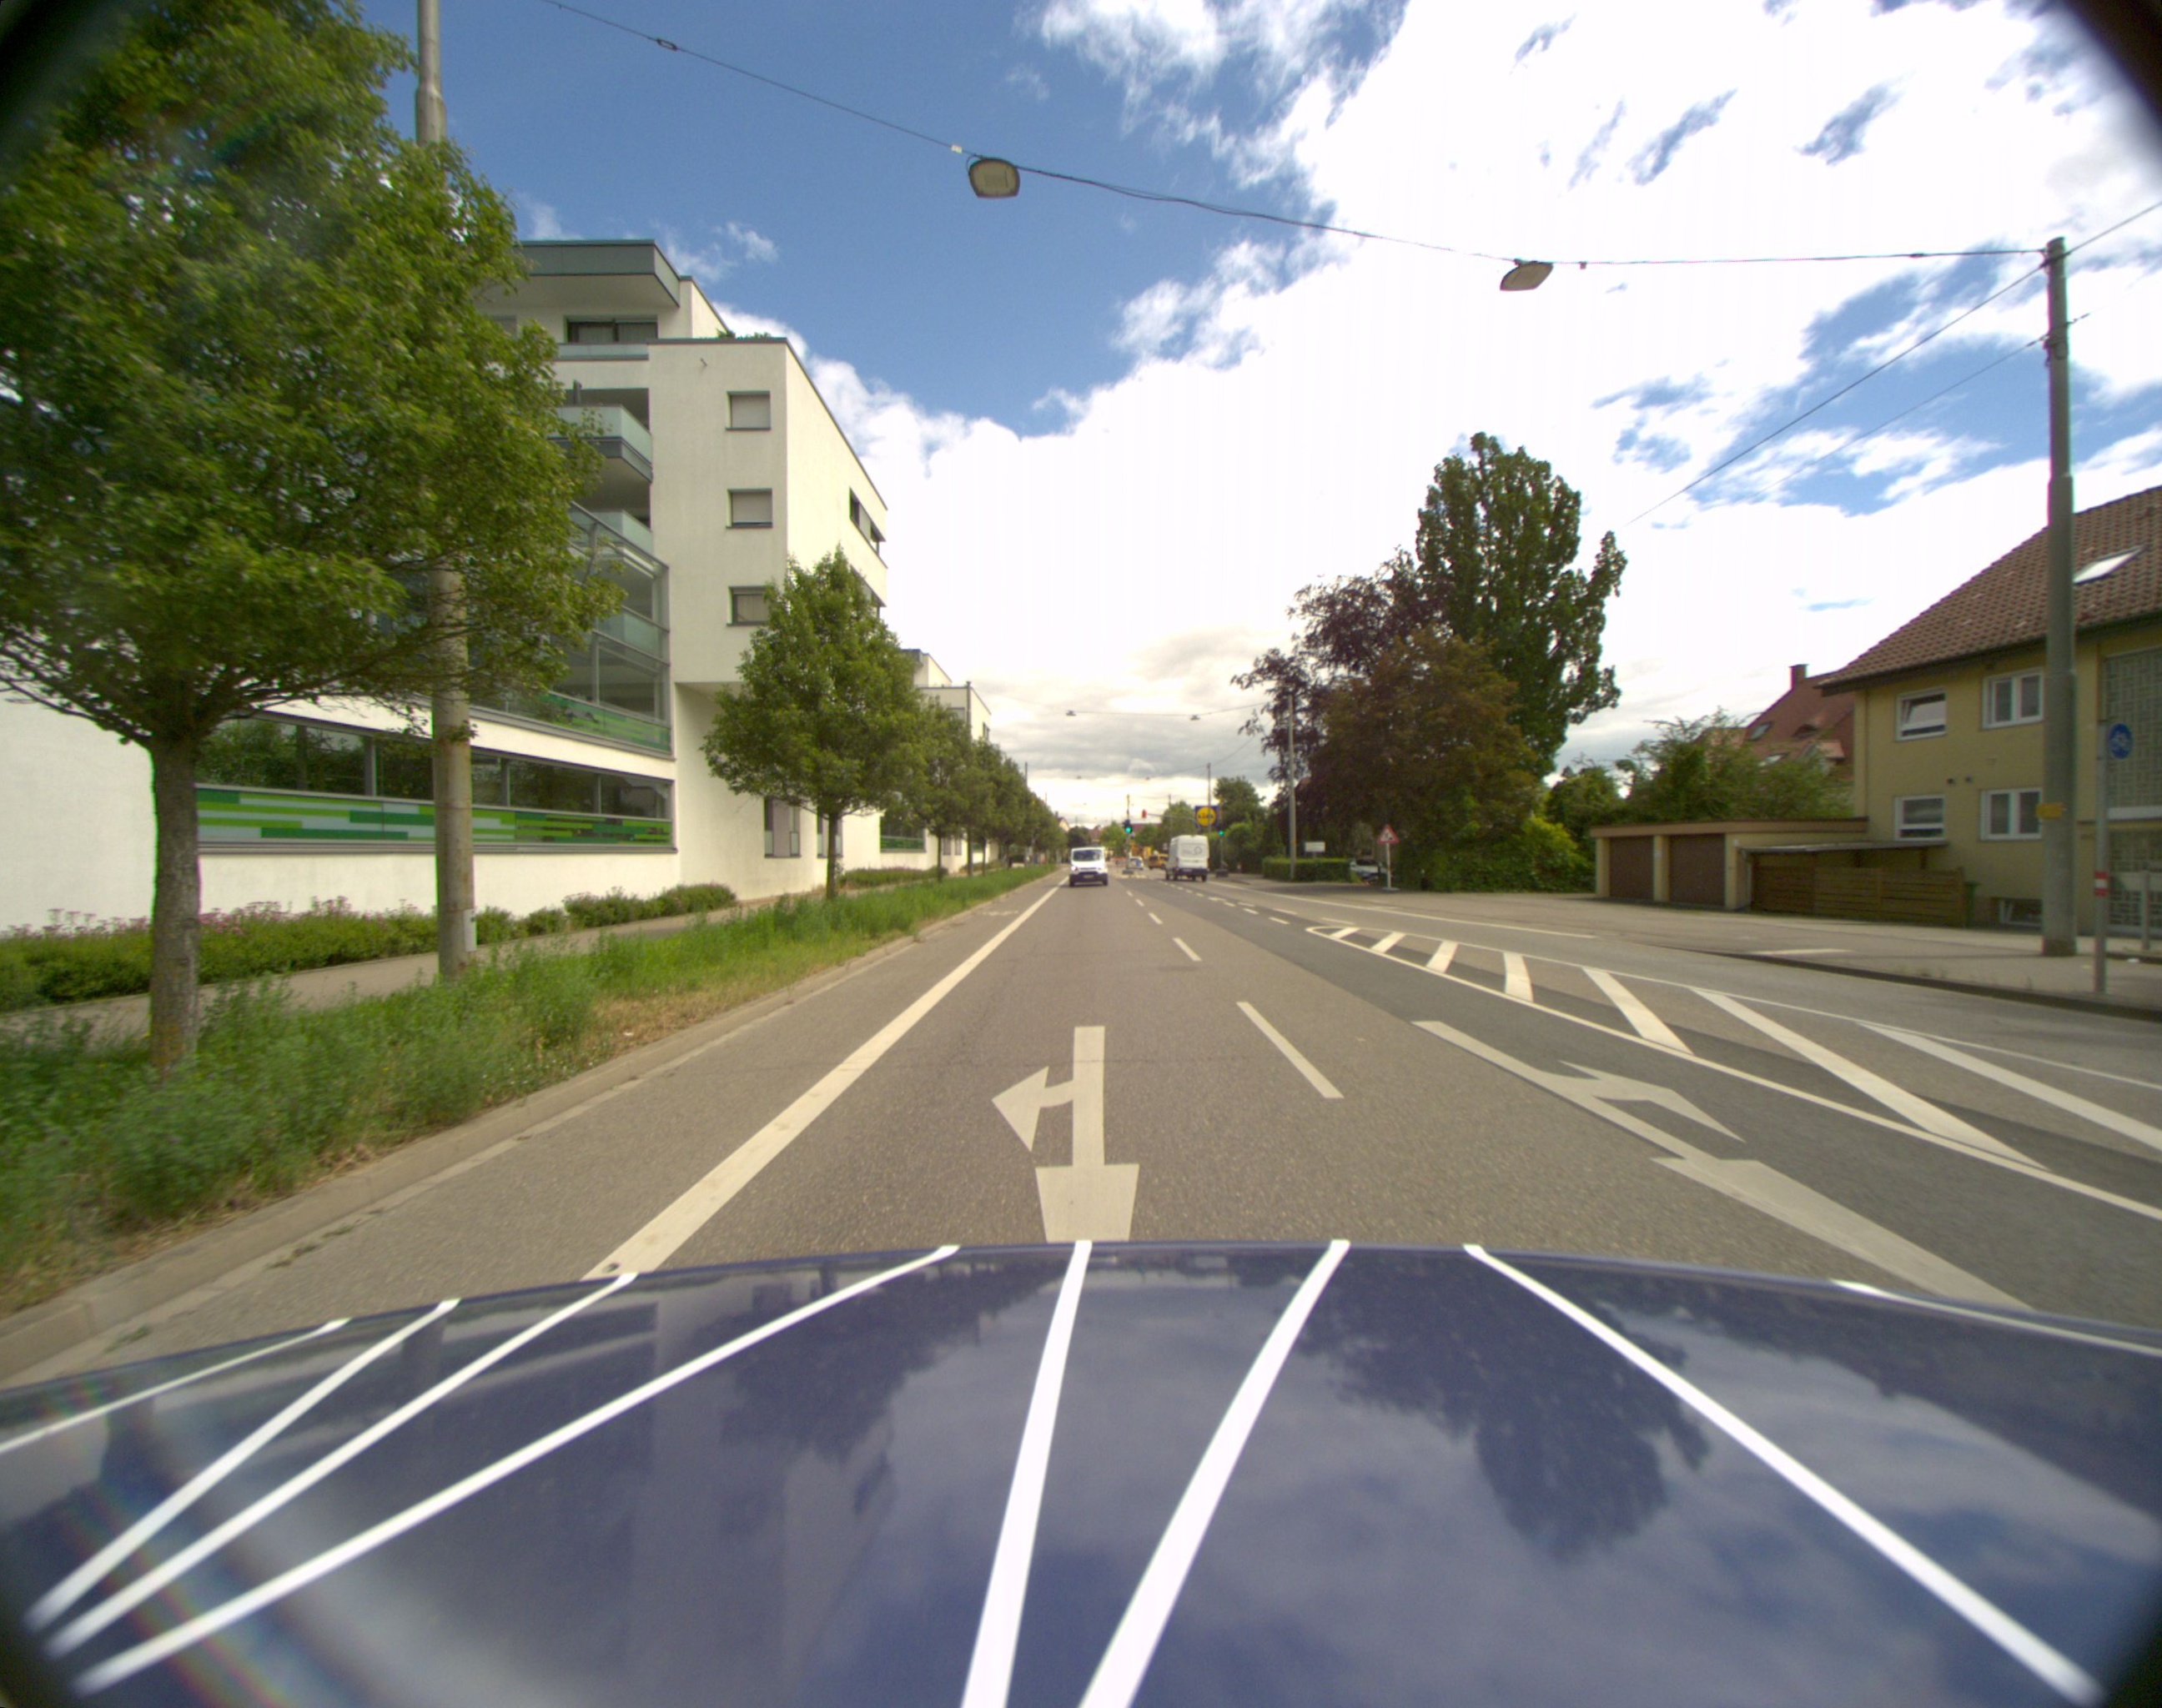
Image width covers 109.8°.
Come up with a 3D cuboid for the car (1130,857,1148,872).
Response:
[{"bbox_3d":[6.364,1.115,83.520,1.611,1.510,3.239,2,1,0],"label":"car"}]

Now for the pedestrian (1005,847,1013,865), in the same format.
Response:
[{"bbox_3d":[-7.845,0.226,82.362,0.621,1.830,0.588,-3,2,-26],"label":"pedestrian"}]

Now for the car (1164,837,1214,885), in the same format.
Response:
[{"bbox_3d":[6.751,0.424,48.249,2.149,2.803,6.147,1,0,-1],"label":"car"}]

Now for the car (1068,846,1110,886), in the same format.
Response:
[{"bbox_3d":[0.418,0.577,39.789,1.998,1.905,3.999,-2,1,0],"label":"car"}]

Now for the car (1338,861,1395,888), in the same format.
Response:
[{"bbox_3d":[16.300,1.143,43.525,1.666,1.380,3.521,2,1,-5],"label":"car"}]

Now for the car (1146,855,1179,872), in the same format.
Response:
[{"bbox_3d":[9.719,1.123,90.330,1.994,1.774,4.007,-2,1,37],"label":"car"}]

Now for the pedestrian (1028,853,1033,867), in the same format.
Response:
[{"bbox_3d":[-6.150,0.685,92.612,0.559,1.649,0.607,-3,1,0],"label":"pedestrian"}]

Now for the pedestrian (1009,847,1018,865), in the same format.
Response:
[{"bbox_3d":[-7.279,0.192,81.943,0.742,1.875,0.701,-3,1,-2],"label":"pedestrian"}]
